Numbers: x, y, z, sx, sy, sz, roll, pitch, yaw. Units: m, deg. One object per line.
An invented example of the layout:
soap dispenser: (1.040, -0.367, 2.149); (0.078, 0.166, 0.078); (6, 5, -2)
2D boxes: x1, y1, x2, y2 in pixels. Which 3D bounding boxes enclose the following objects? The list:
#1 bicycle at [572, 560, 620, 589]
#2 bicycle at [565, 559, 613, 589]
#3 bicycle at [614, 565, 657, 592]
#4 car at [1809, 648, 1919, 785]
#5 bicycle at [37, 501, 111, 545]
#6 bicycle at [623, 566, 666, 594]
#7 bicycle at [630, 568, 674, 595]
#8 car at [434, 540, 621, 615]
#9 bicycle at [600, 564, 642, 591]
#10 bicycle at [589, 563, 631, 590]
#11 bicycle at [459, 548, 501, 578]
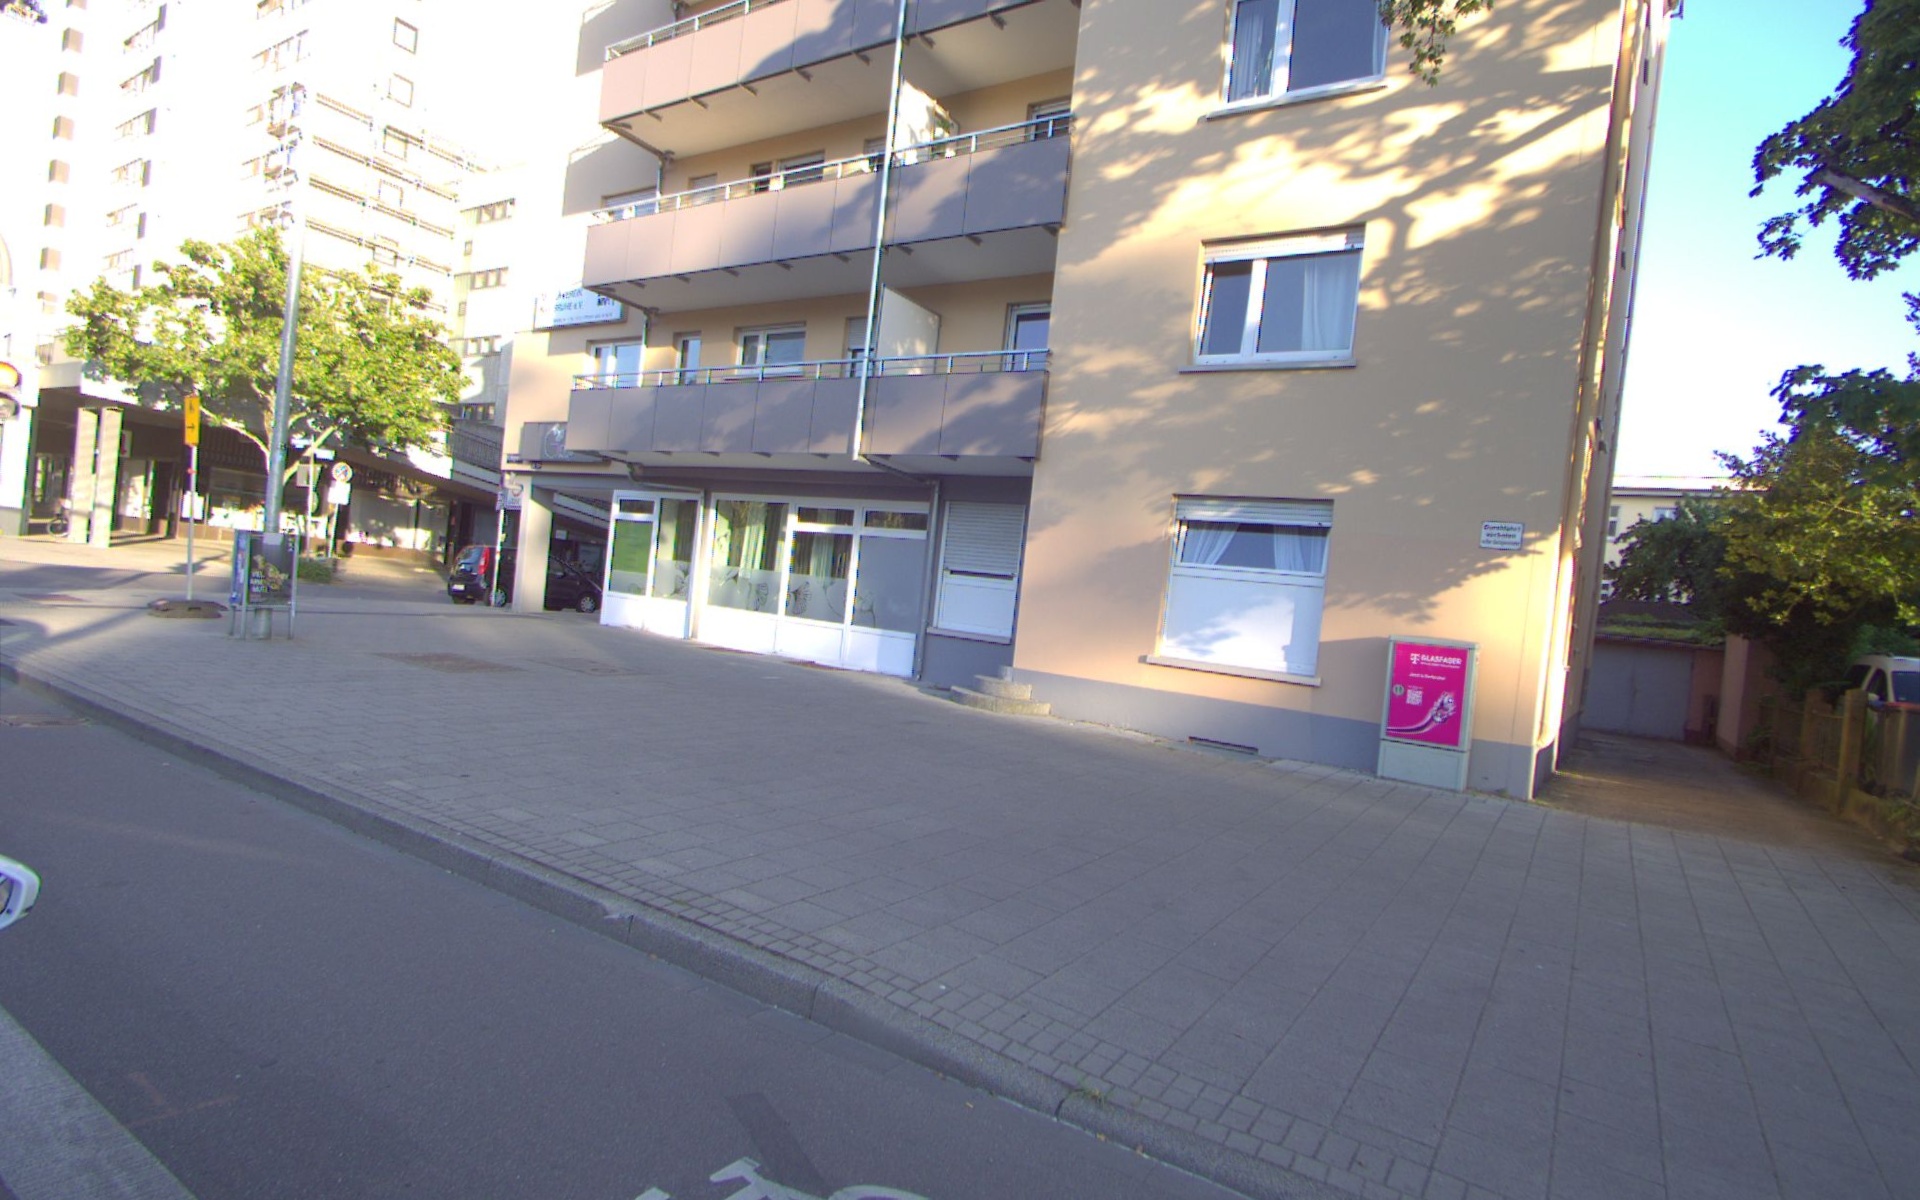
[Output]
bicycle: (-16.827, -1.172, 46.543); (1.939, 1.086, 0.584); (7, -2, 9)
bicycle: (-17.018, -1.202, 46.100); (1.939, 1.087, 0.584); (7, -2, 13)
bicycle: (-15.405, -1.020, 47.746); (1.942, 1.087, 0.583); (6, -3, 26)
car: (14.569, 1.740, 14.968); (1.794, 1.780, 4.513); (8, 2, 27)
bicycle: (-28.987, -2.507, 32.907); (1.984, 1.162, 0.692); (7, -2, 14)
bicycle: (-15.157, -0.961, 48.313); (1.941, 1.087, 0.583); (6, -2, 21)
bicycle: (-14.980, -0.886, 48.934); (1.941, 1.087, 0.583); (6, -2, 21)
car: (-10.889, -0.528, 25.552); (1.680, 1.605, 4.037); (3, -1, 36)
bicycle: (-15.979, -1.066, 47.393); (1.943, 1.086, 0.582); (6, -3, 29)
bicycle: (-16.344, -1.101, 46.955); (1.943, 1.086, 0.582); (6, -3, 29)
bicycle: (-20.208, -1.568, 42.331); (1.946, 1.086, 0.581); (5, -3, 35)
